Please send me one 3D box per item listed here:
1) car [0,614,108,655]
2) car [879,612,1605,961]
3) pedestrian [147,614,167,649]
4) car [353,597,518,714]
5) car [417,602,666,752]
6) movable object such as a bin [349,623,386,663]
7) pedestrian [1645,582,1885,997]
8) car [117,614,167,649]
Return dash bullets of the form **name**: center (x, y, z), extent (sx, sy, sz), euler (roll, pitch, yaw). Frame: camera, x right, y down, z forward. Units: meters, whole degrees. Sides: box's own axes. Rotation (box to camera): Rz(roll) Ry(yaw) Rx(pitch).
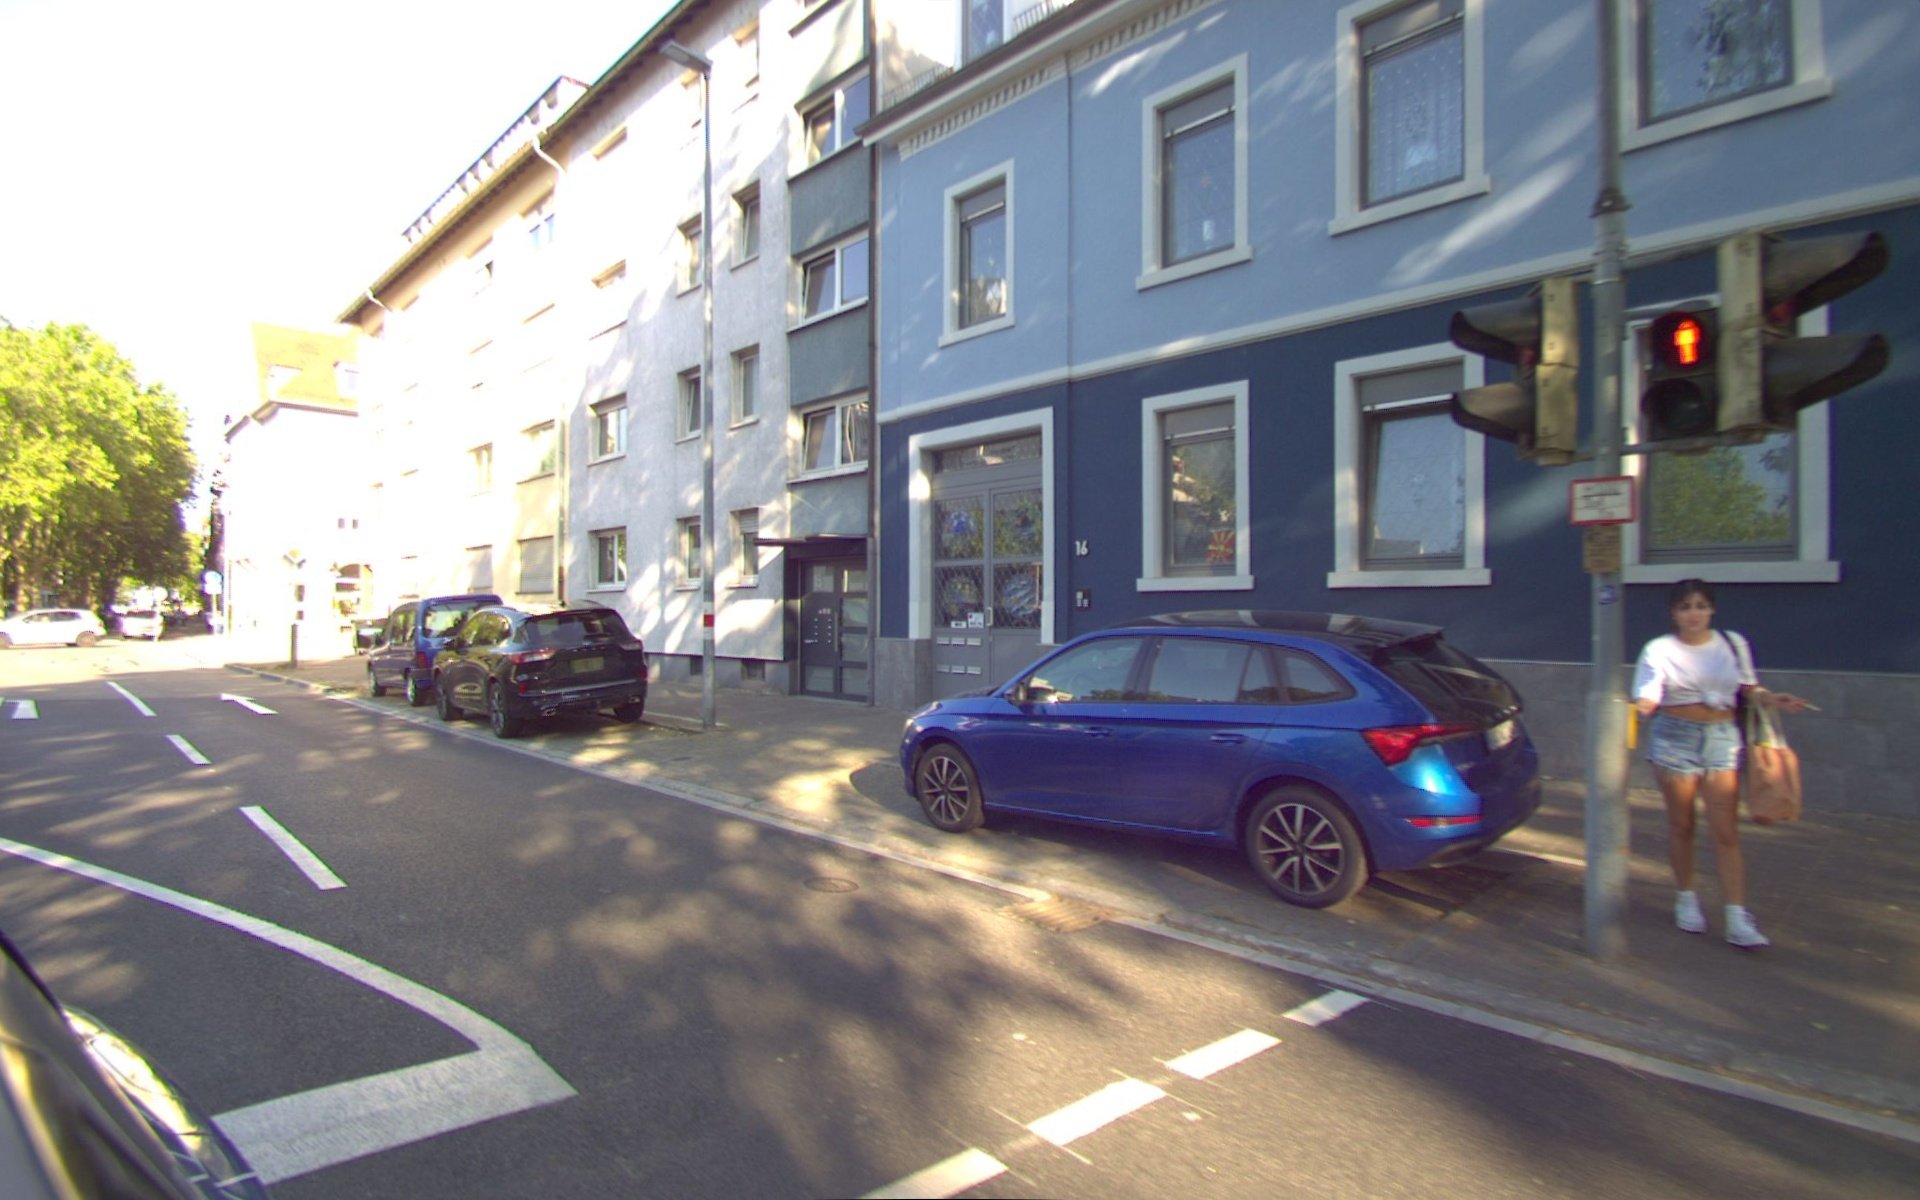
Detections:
- **car**: center (-35.244, 1.289, 38.393), extent (1.798, 1.523, 4.153), euler (-1, -2, 37)
- **car**: center (1.491, 0.858, 6.550), extent (1.631, 1.498, 4.265), euler (-1, 0, -45)
- **pedestrian**: center (-39.975, 1.590, 50.367), extent (0.662, 1.725, 0.715), euler (2, -2, -34)
- **car**: center (-9.421, 0.900, 18.030), extent (1.644, 1.832, 4.010), euler (-1, 0, -42)
- **car**: center (-5.892, 0.913, 13.932), extent (1.882, 1.685, 4.500), euler (-1, 0, -40)
- **movable object such as a bin**: center (-19.933, 1.429, 34.053), extent (1.018, 1.296, 1.065), euler (1, -2, -32)
- **pedestrian**: center (3.524, 0.734, 4.425), extent (0.853, 1.582, 0.706), euler (1, -2, -45)
- **car**: center (-43.755, 1.651, 54.102), extent (1.870, 1.806, 4.005), euler (2, -2, -42)
